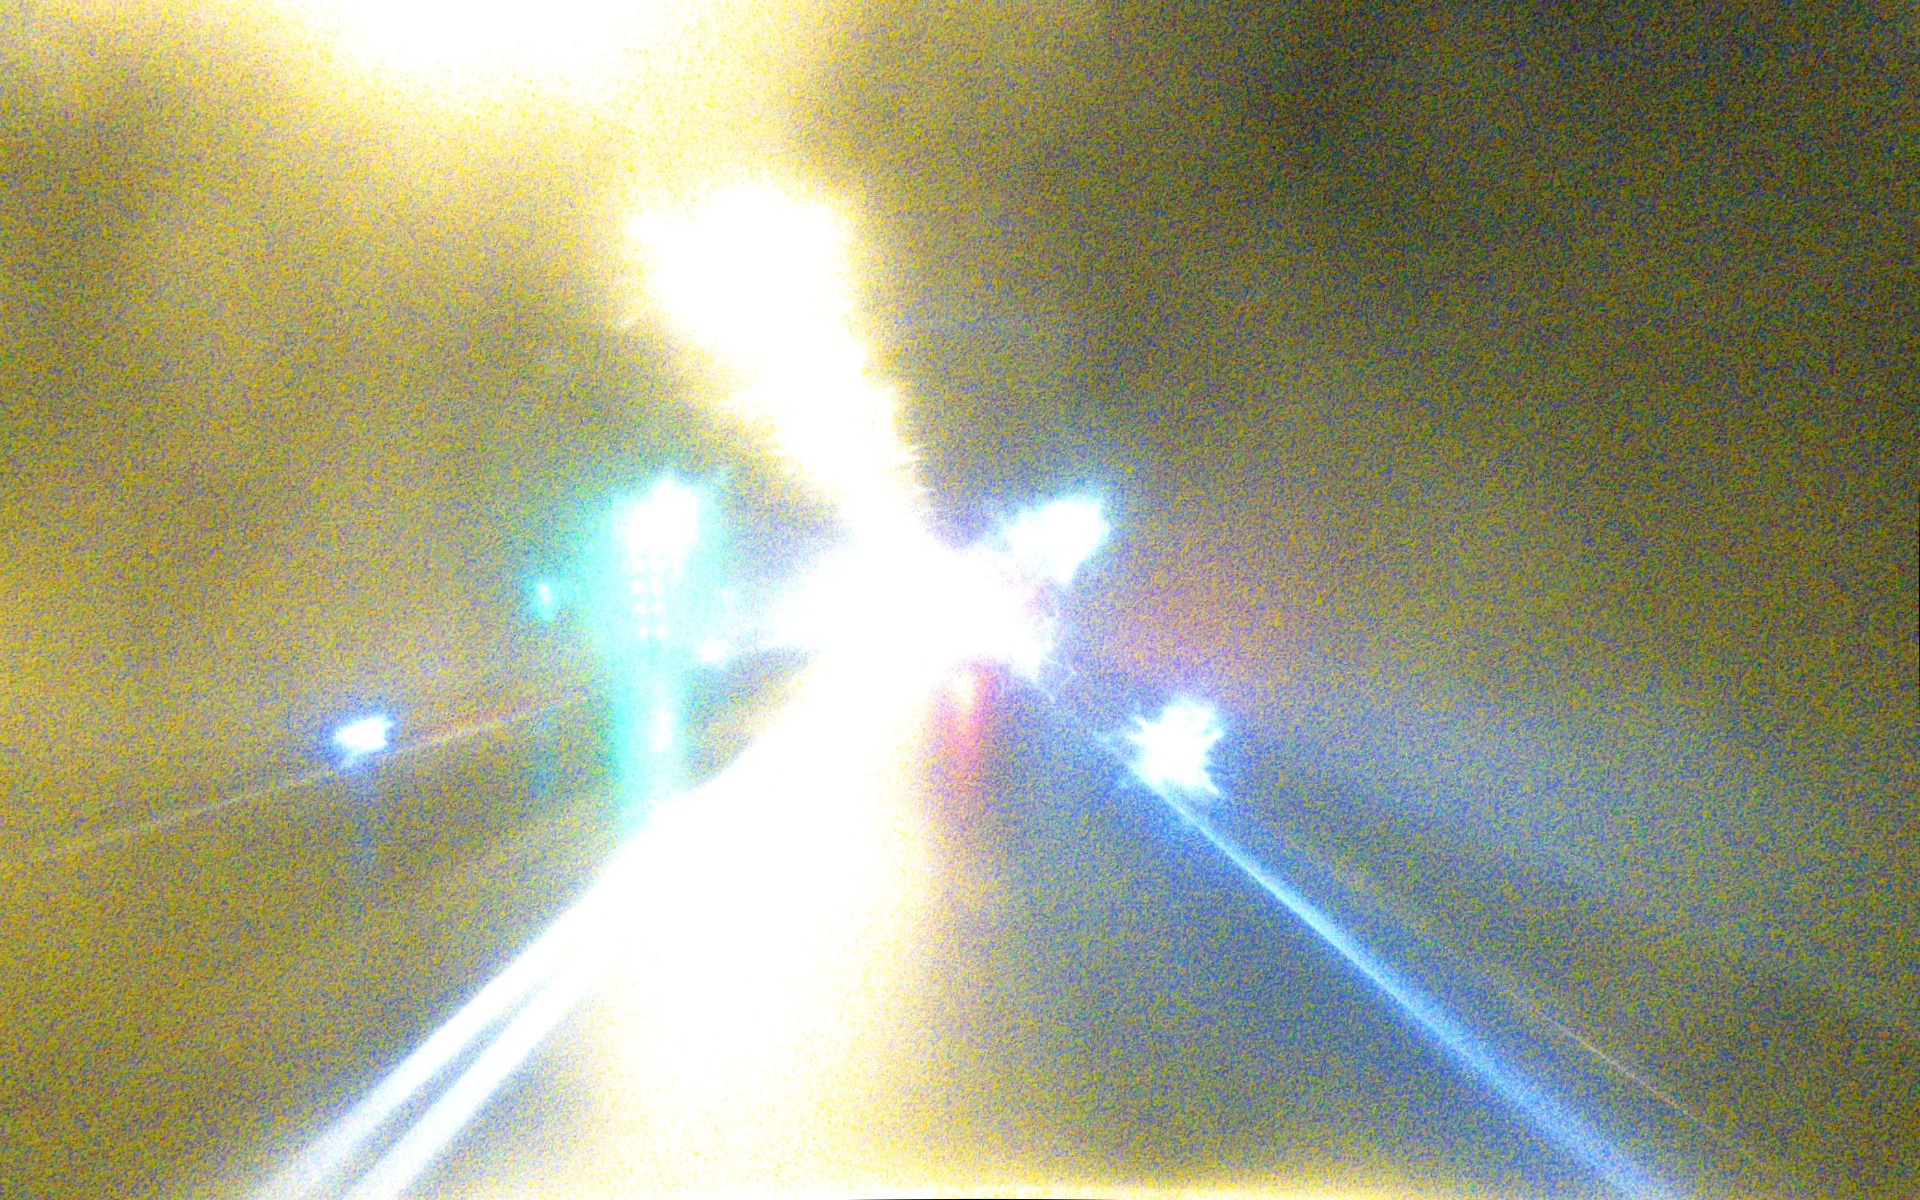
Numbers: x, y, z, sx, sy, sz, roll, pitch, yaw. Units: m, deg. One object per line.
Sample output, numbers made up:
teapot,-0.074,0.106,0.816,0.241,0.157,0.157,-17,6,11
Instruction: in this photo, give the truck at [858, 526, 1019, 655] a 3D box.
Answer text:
truck,-0.527,-0.236,41.005,3.463,2.740,8.954,-2,0,-1
